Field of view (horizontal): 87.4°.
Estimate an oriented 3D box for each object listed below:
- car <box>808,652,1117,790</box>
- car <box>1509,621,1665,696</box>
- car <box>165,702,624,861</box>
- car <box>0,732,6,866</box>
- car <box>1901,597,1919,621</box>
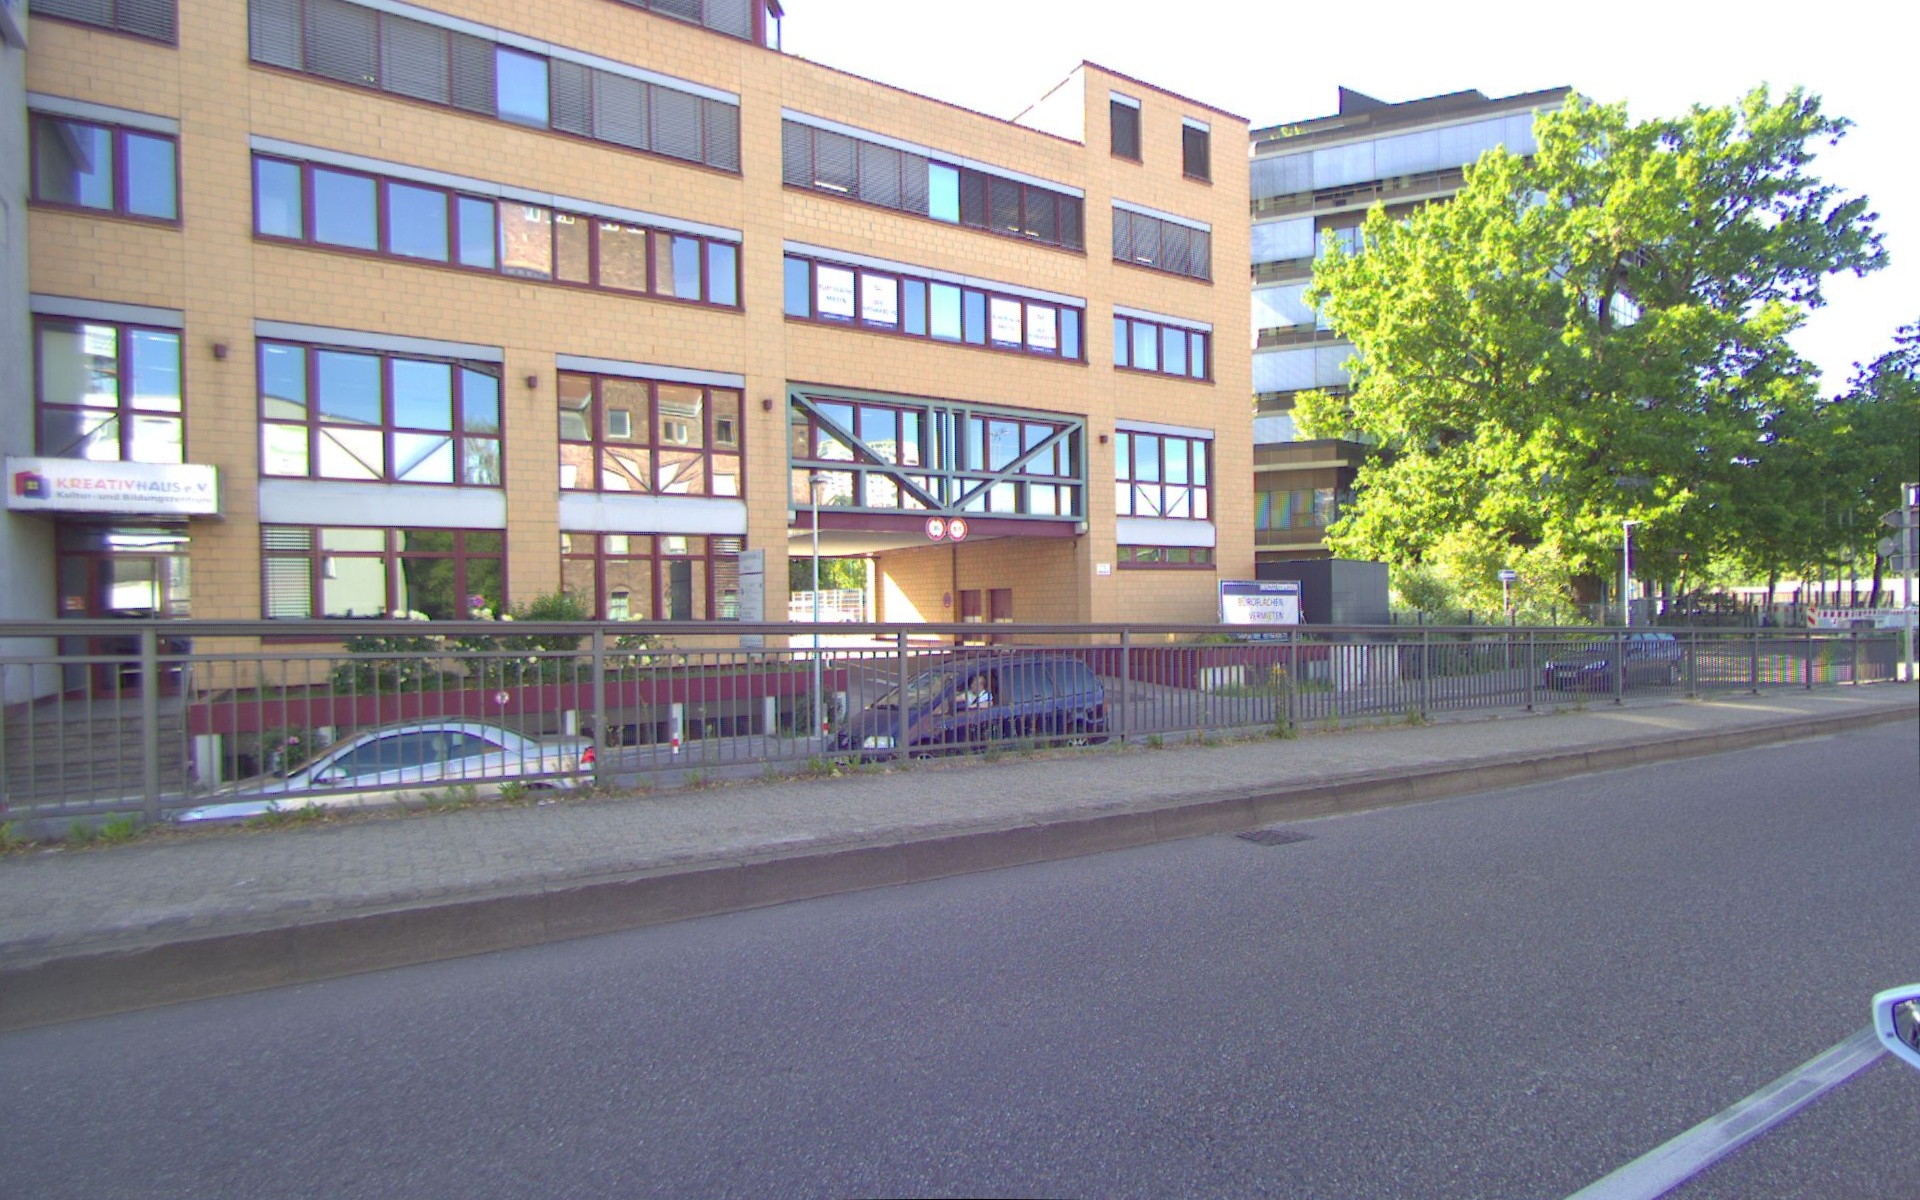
[{"bbox_3d":[0.135,1.696,15.208,4.541,1.669,1.710,0,-2,-36],"label":"car"},{"bbox_3d":[16.426,1.466,26.279,3.953,1.715,1.843,-1,0,-30],"label":"car"},{"bbox_3d":[-6.142,1.899,11.311,4.210,1.181,1.713,0,-2,-32],"label":"car"},{"bbox_3d":[-10.651,1.923,8.283,3.766,1.286,1.567,0,-2,-32],"label":"car"},{"bbox_3d":[67.235,0.582,68.890,1.853,1.651,4.002,0,-1,4],"label":"car"}]
